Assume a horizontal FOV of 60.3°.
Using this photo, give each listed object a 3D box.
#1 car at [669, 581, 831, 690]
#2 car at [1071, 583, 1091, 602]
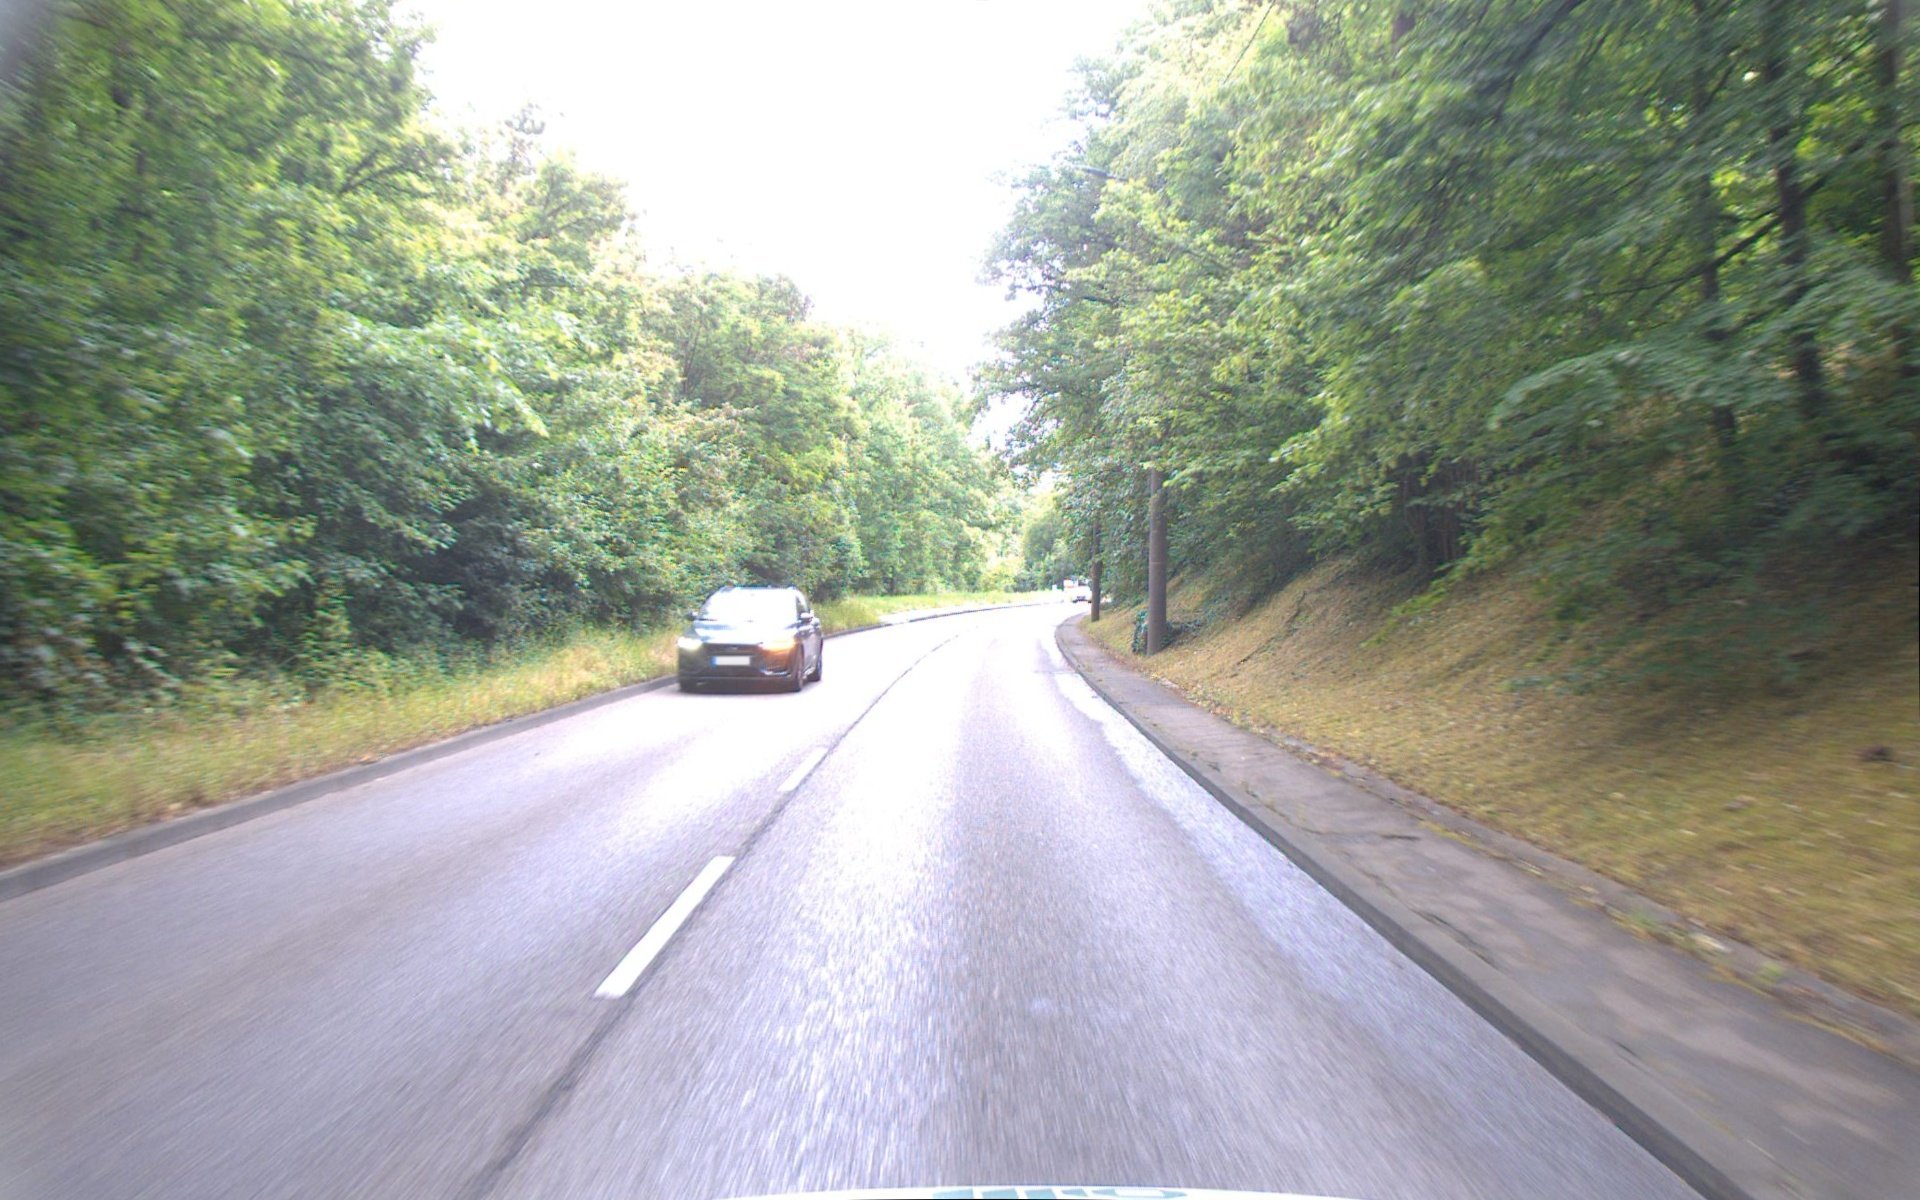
[{"bbox_3d":[-3.092,0.518,25.111,1.953,1.462,3.999,2,-1,-1],"label":"car"},{"bbox_3d":[12.558,-0.758,171.930,1.951,1.784,4.785,2,-1,5],"label":"car"}]
